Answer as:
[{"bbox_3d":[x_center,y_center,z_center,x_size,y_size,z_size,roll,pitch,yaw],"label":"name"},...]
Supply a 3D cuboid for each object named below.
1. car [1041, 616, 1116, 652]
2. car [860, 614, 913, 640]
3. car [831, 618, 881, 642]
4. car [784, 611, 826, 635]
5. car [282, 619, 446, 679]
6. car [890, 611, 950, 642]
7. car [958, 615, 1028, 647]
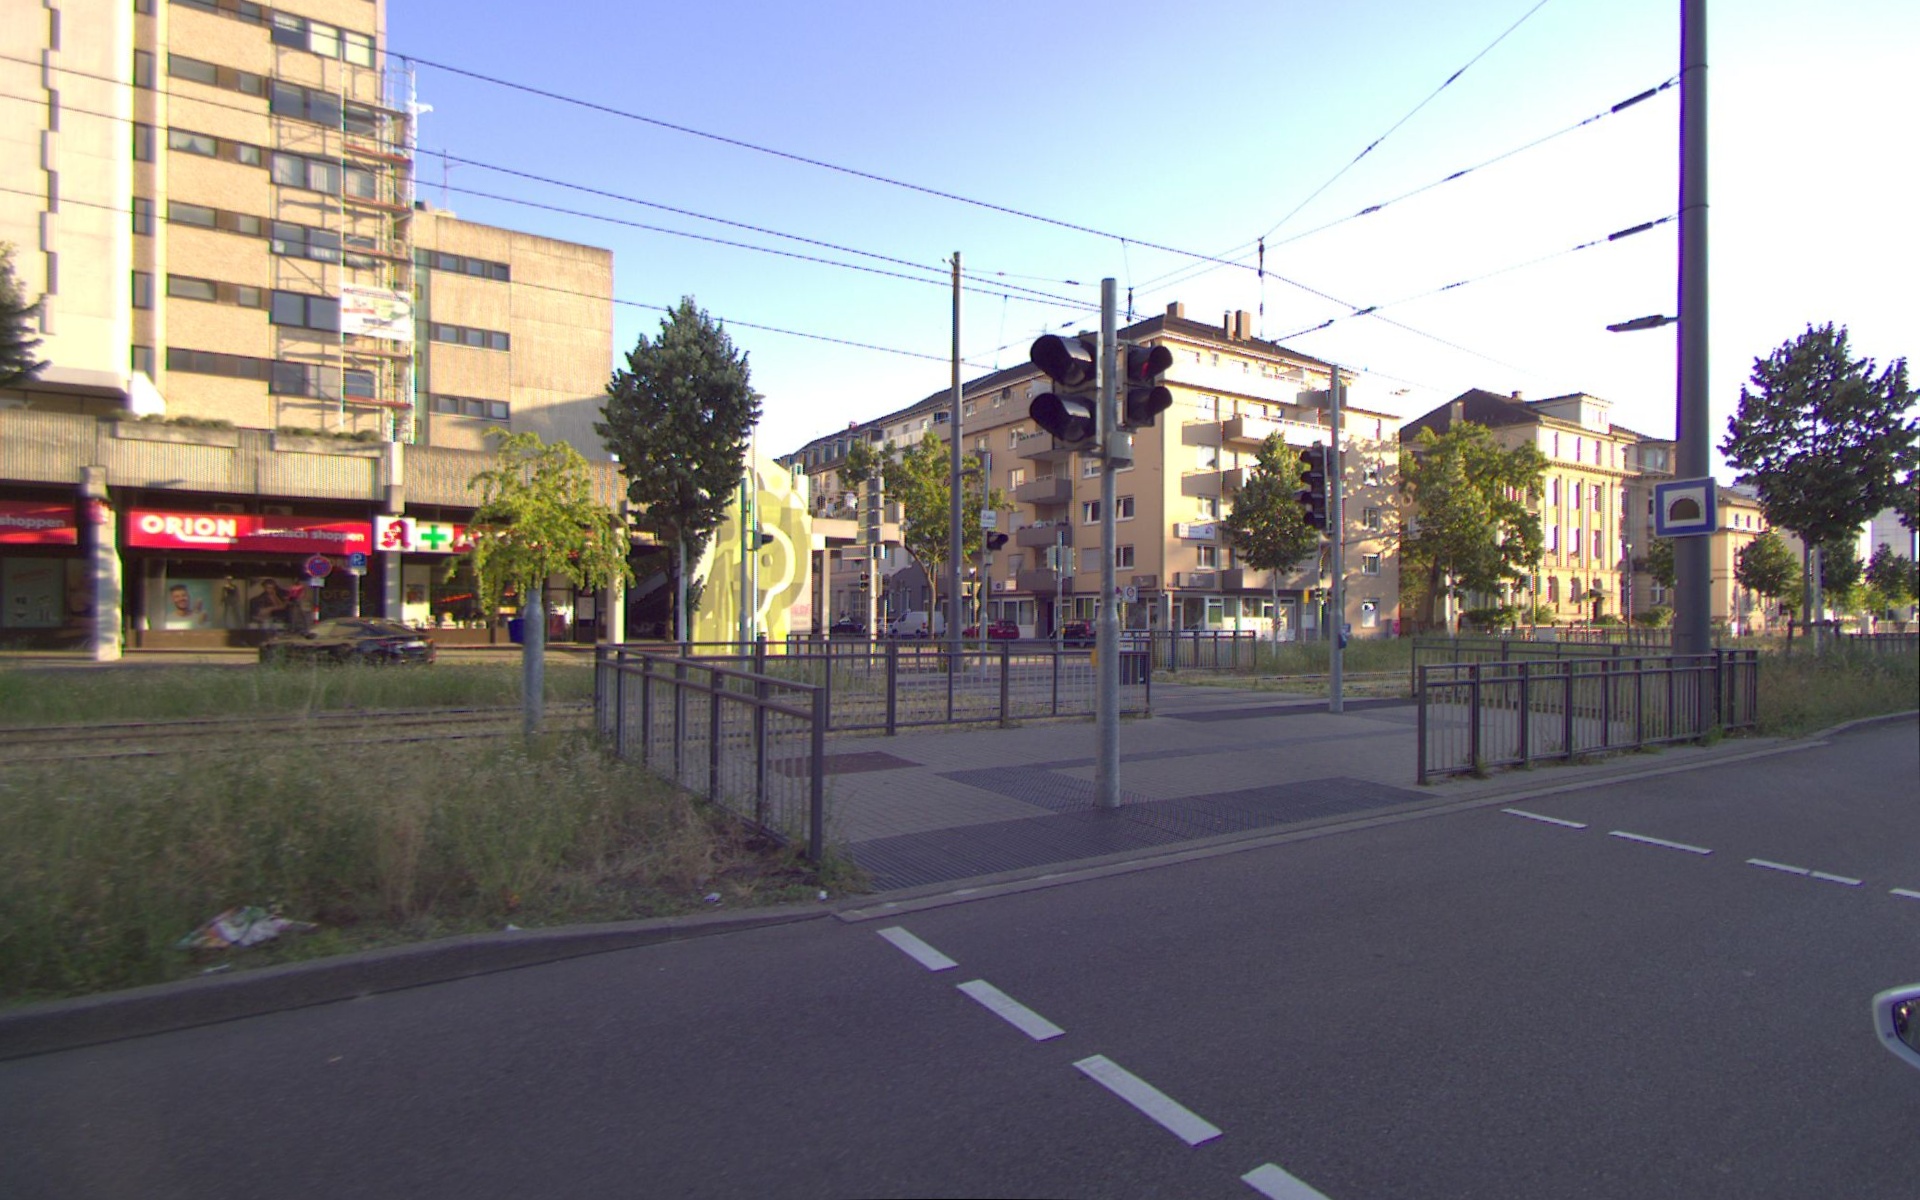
[{"bbox_3d":[6.481,1.816,55.259,2.168,1.870,3.910,1,-1,-33],"label":"car"},{"bbox_3d":[-5.408,1.962,73.656,2.094,1.779,4.303,1,-1,-33],"label":"car"},{"bbox_3d":[-8.107,2.320,77.963,2.094,1.779,4.303,1,-1,-33],"label":"car"},{"bbox_3d":[-13.295,1.990,85.881,1.970,1.809,3.869,-2,-2,-35],"label":"car"},{"bbox_3d":[-15.760,1.260,26.600,3.656,1.469,1.745,0,-1,18],"label":"car"},{"bbox_3d":[-2.778,1.793,69.247,2.143,2.016,4.460,1,-1,-33],"label":"car"},{"bbox_3d":[2.007,1.927,62.321,2.145,1.792,4.301,-1,-2,-35],"label":"car"}]
